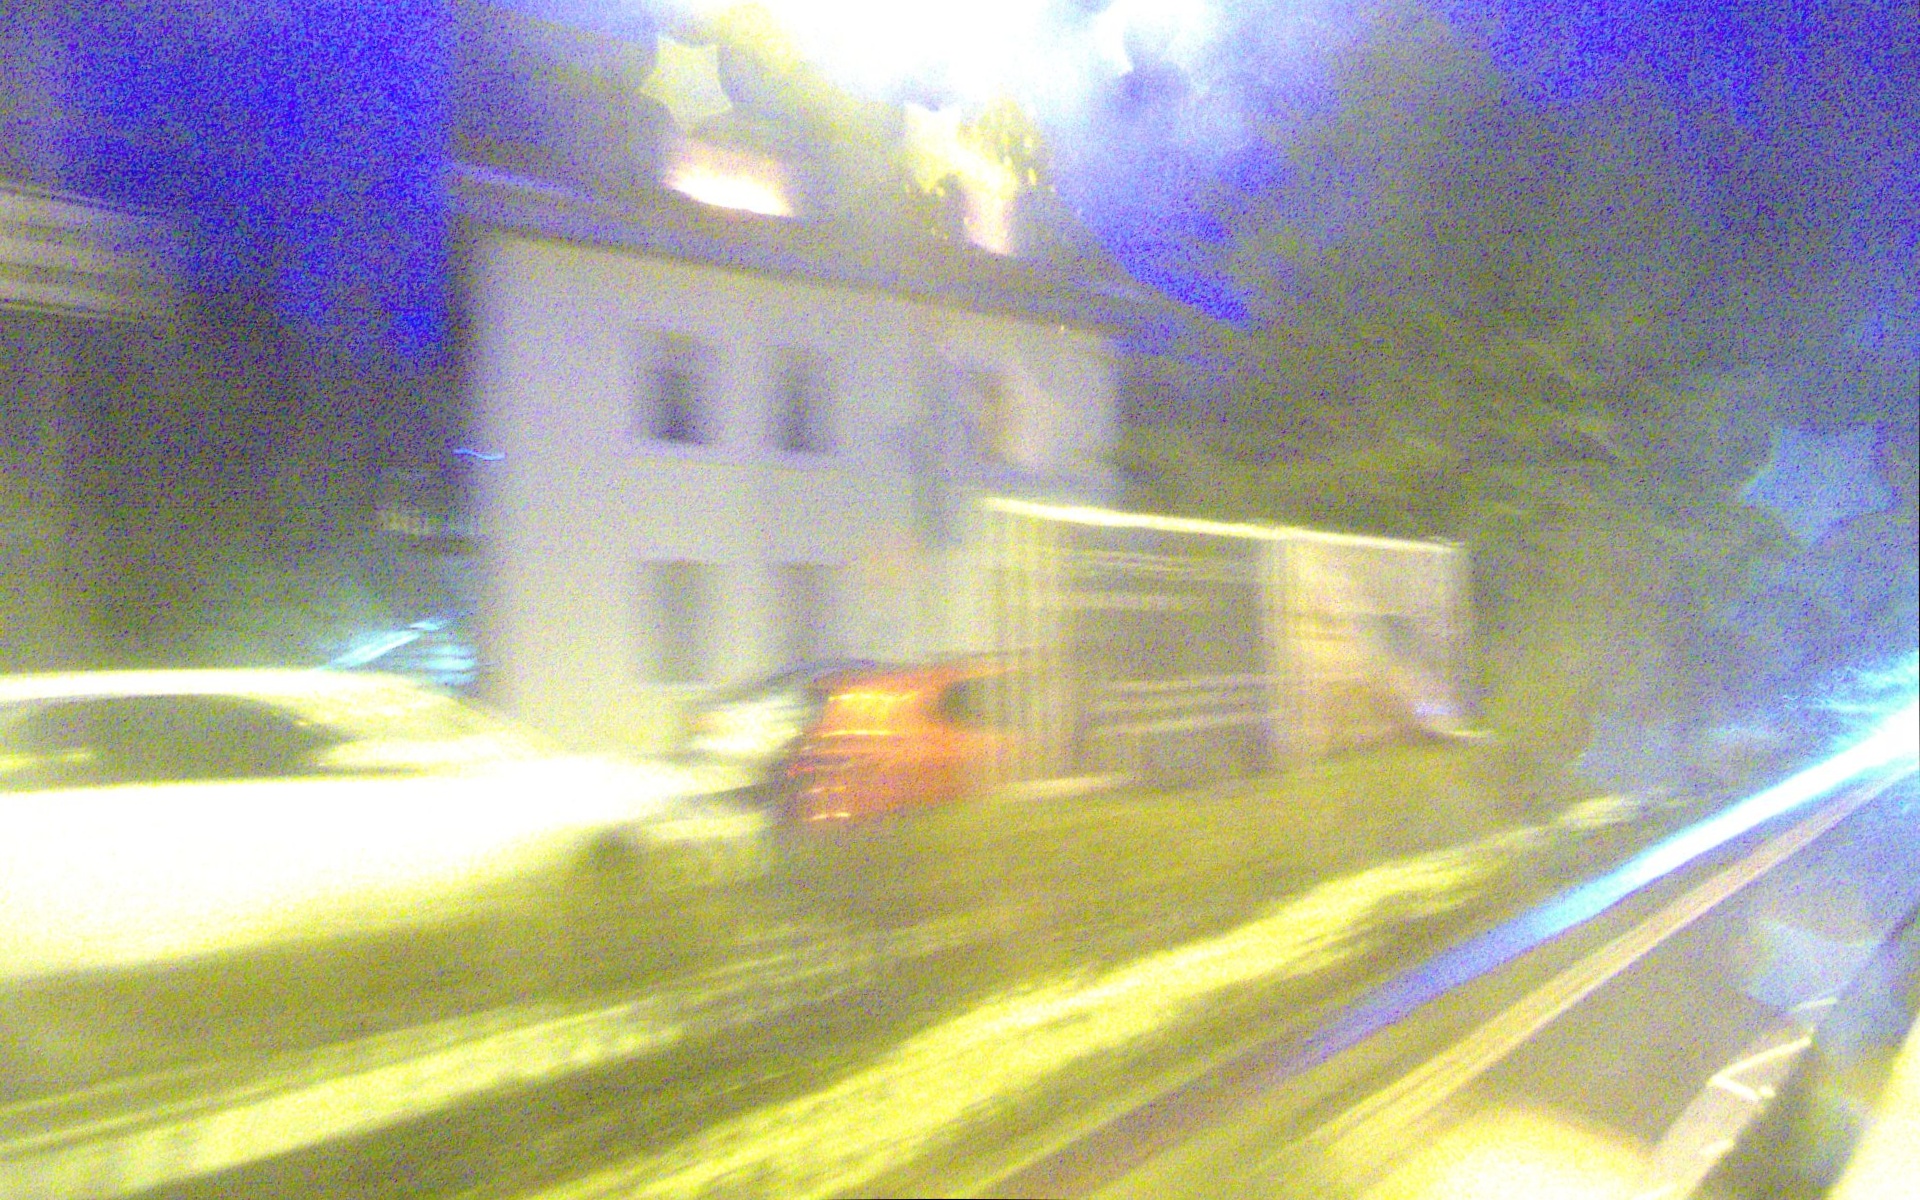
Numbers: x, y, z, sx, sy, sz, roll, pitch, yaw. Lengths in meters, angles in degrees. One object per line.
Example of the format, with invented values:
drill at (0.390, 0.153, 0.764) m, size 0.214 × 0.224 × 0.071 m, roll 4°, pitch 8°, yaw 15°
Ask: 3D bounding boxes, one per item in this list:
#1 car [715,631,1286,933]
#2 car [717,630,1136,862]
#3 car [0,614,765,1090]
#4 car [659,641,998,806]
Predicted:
car at (0.356, 0.989, 6.879) m, size 3.604 × 1.415 × 1.641 m, roll 0°, pitch 1°, yaw -33°
car at (-0.276, 1.164, 9.326) m, size 3.465 × 1.639 × 1.643 m, roll 1°, pitch 2°, yaw -31°
car at (-2.983, 0.890, 4.656) m, size 3.727 × 1.586 × 1.680 m, roll 1°, pitch 0°, yaw -33°
car at (-1.527, 1.328, 11.996) m, size 3.602 × 1.529 × 1.643 m, roll 1°, pitch 2°, yaw -31°
